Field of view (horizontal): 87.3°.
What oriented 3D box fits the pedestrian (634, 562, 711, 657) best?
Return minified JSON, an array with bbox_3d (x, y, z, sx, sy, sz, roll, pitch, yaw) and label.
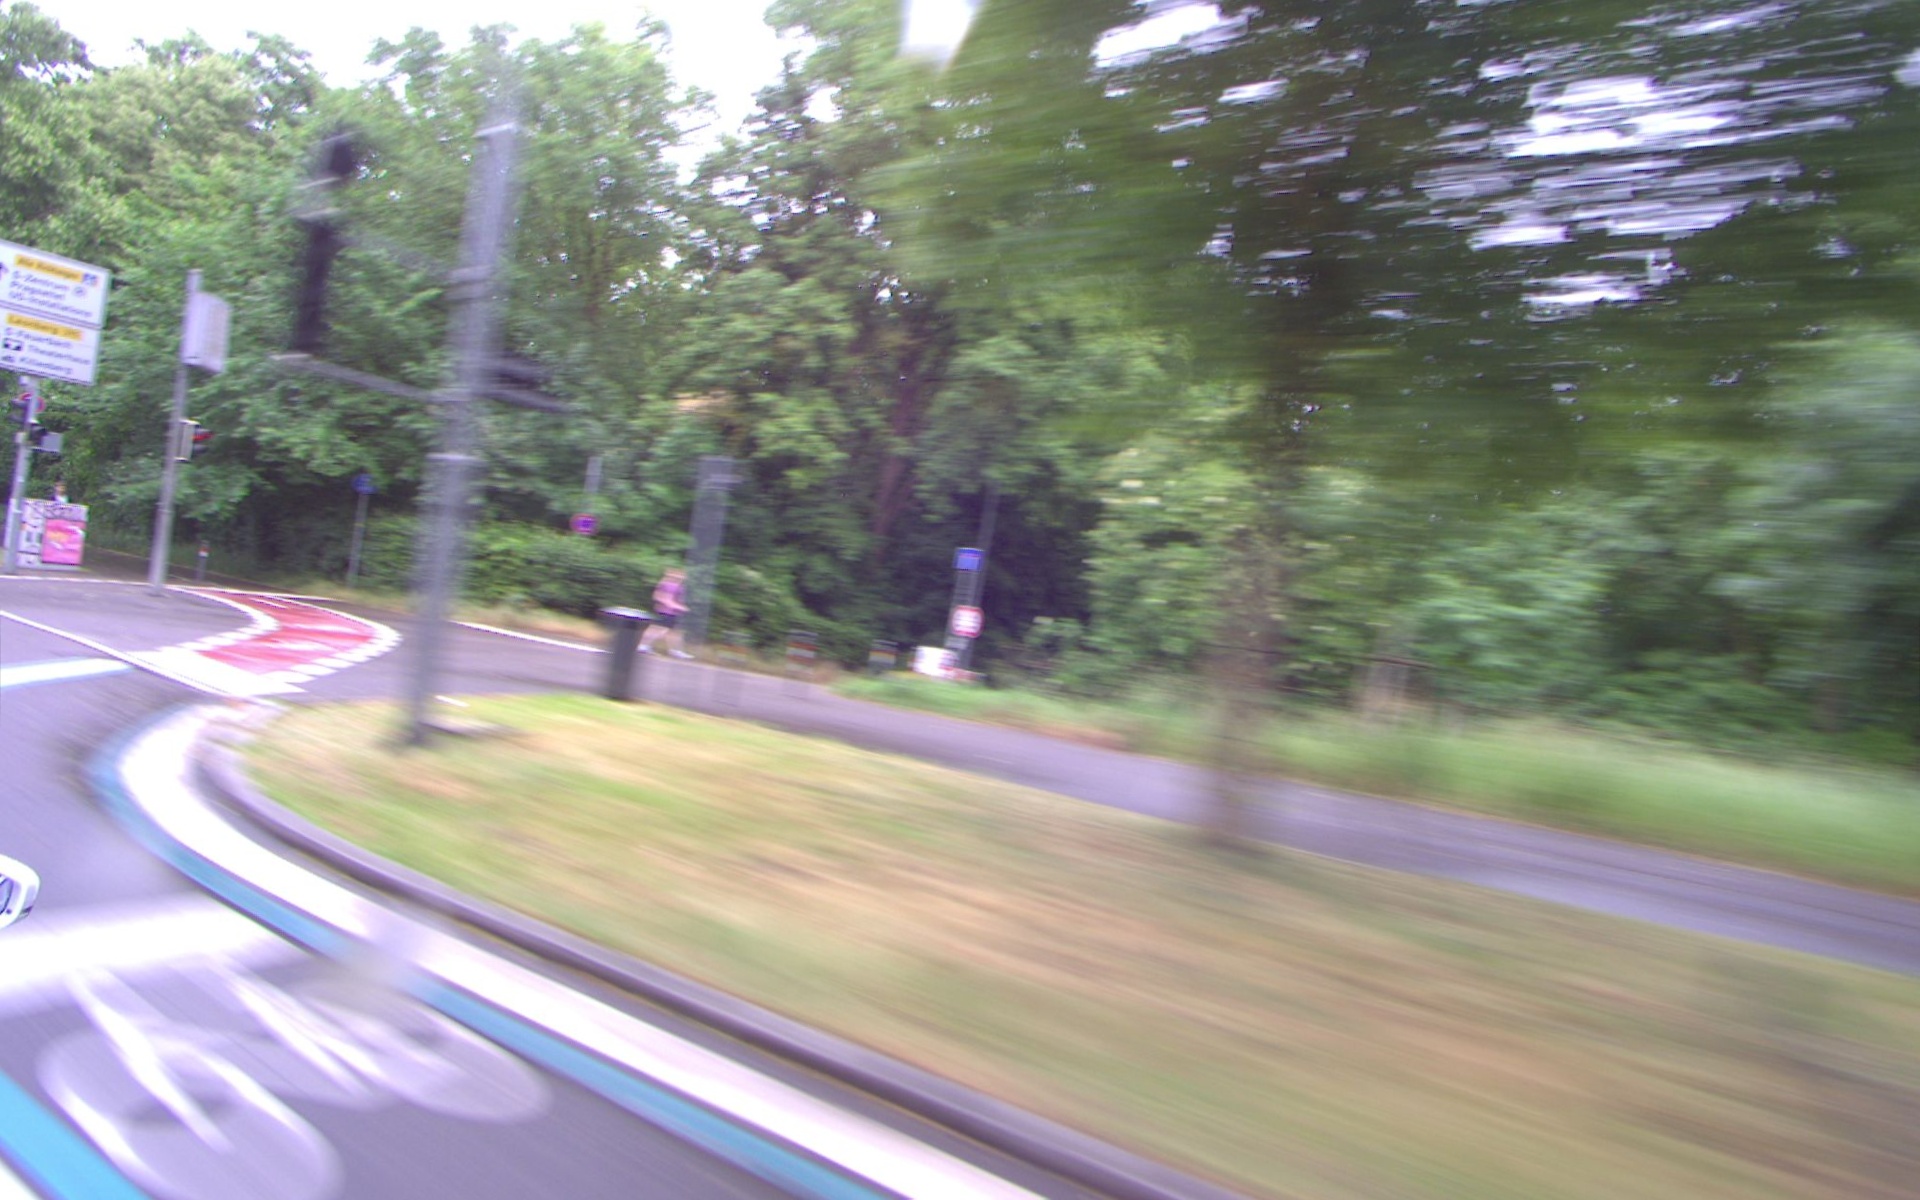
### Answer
[{"bbox_3d":[-5.837,0.193,20.409,1.133,1.754,0.883,8,-1,-29],"label":"pedestrian"}]
